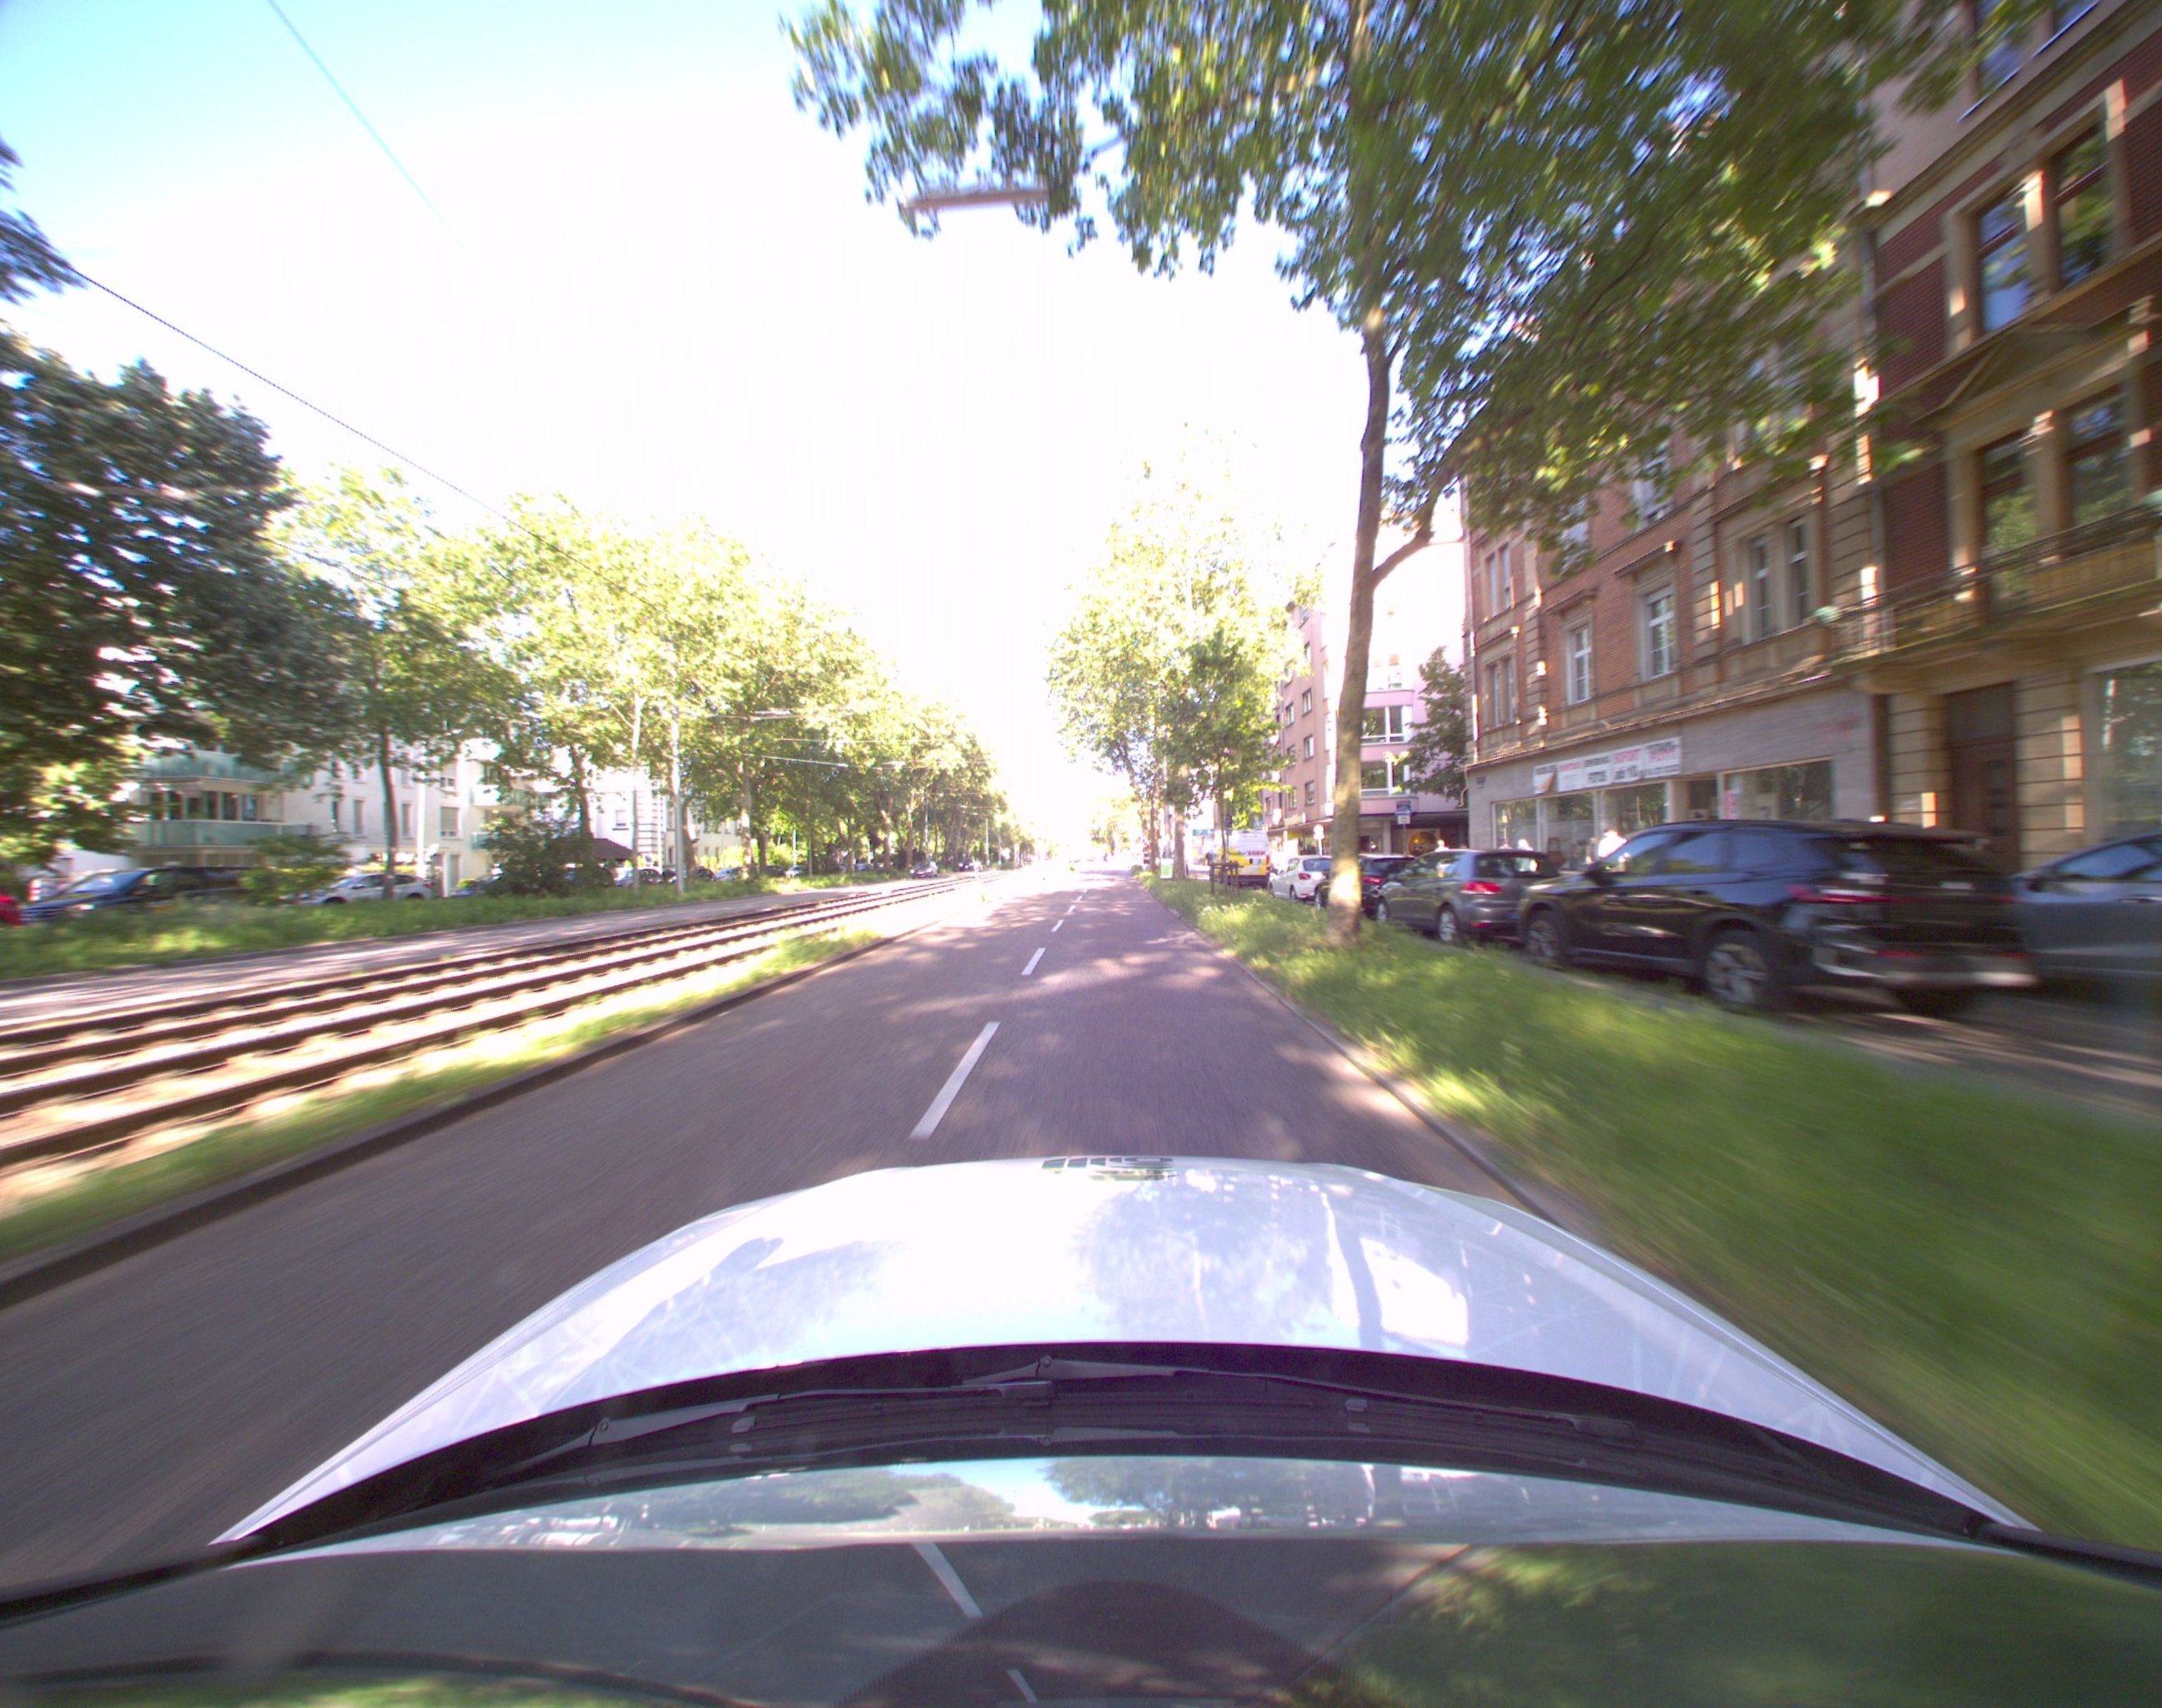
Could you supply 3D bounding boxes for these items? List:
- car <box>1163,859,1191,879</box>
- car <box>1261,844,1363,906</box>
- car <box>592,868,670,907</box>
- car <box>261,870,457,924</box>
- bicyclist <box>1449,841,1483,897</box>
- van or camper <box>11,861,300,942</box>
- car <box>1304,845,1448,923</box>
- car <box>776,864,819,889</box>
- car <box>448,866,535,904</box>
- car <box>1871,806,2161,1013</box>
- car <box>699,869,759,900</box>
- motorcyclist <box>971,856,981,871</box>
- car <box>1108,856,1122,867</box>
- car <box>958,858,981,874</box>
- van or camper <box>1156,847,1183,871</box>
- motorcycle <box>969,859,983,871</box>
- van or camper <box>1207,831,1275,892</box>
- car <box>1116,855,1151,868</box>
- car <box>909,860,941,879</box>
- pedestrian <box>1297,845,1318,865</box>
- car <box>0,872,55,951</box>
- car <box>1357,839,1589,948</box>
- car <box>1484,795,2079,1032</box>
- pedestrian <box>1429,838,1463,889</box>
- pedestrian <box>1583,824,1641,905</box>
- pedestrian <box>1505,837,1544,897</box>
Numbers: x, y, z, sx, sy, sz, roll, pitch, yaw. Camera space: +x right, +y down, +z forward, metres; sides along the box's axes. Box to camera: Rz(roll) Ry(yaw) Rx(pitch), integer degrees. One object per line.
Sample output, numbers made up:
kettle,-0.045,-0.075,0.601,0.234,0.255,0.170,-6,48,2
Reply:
car,7.517,1.164,64.136,1.678,1.514,3.665,-1,0,-1
car,6.423,0.557,23.080,1.747,1.572,4.185,1,0,1
car,-25.576,1.847,46.444,1.986,2.013,4.094,-2,0,2
car,-26.118,1.489,29.770,2.014,1.598,5.104,-4,-1,11
bicyclist,11.524,0.445,24.378,0.656,1.615,0.698,-1,-1,2
van or camper,-26.134,1.243,23.406,2.258,2.014,5.217,-1,-1,1
car,6.381,0.613,18.135,1.747,1.496,4.185,1,0,1
car,-24.965,1.933,71.863,1.986,2.013,4.686,-2,0,2
car,-34.243,1.763,47.459,1.986,2.013,4.002,-2,0,2
car,9.109,0.389,6.392,1.747,1.579,4.185,-2,-1,1
car,-25.249,2.137,58.677,1.985,2.013,4.689,-2,0,4
motorcyclist,-11.147,0.992,86.442,0.940,1.513,0.959,-2,0,2
car,5.010,1.085,121.228,2.014,1.662,4.000,-1,0,1
car,-14.281,1.472,104.702,1.986,1.870,4.875,-3,0,2
van or camper,7.532,0.462,69.456,1.833,1.963,5.128,-1,0,1
motorcycle,-11.132,1.139,86.601,0.960,1.212,3.353,-2,0,2
van or camper,7.013,0.325,36.370,2.174,2.480,6.274,1,0,4
car,6.744,0.966,104.378,3.948,1.662,2.041,-2,-1,36
car,-13.919,1.384,72.993,1.788,1.508,4.341,-4,-1,2
pedestrian,14.547,0.074,52.331,1.138,1.256,0.749,-2,0,2
car,-26.193,1.374,17.554,2.102,1.809,4.737,-2,0,0
car,6.141,0.563,13.391,1.731,1.464,4.365,1,0,0
car,6.185,0.443,8.202,1.885,1.647,4.799,1,0,0
pedestrian,12.748,0.330,28.480,0.689,1.755,1.080,-1,-1,2
pedestrian,12.189,0.238,18.728,0.689,1.788,0.958,-1,-1,2
pedestrian,12.712,0.378,23.350,0.689,1.684,0.753,-1,-1,2
